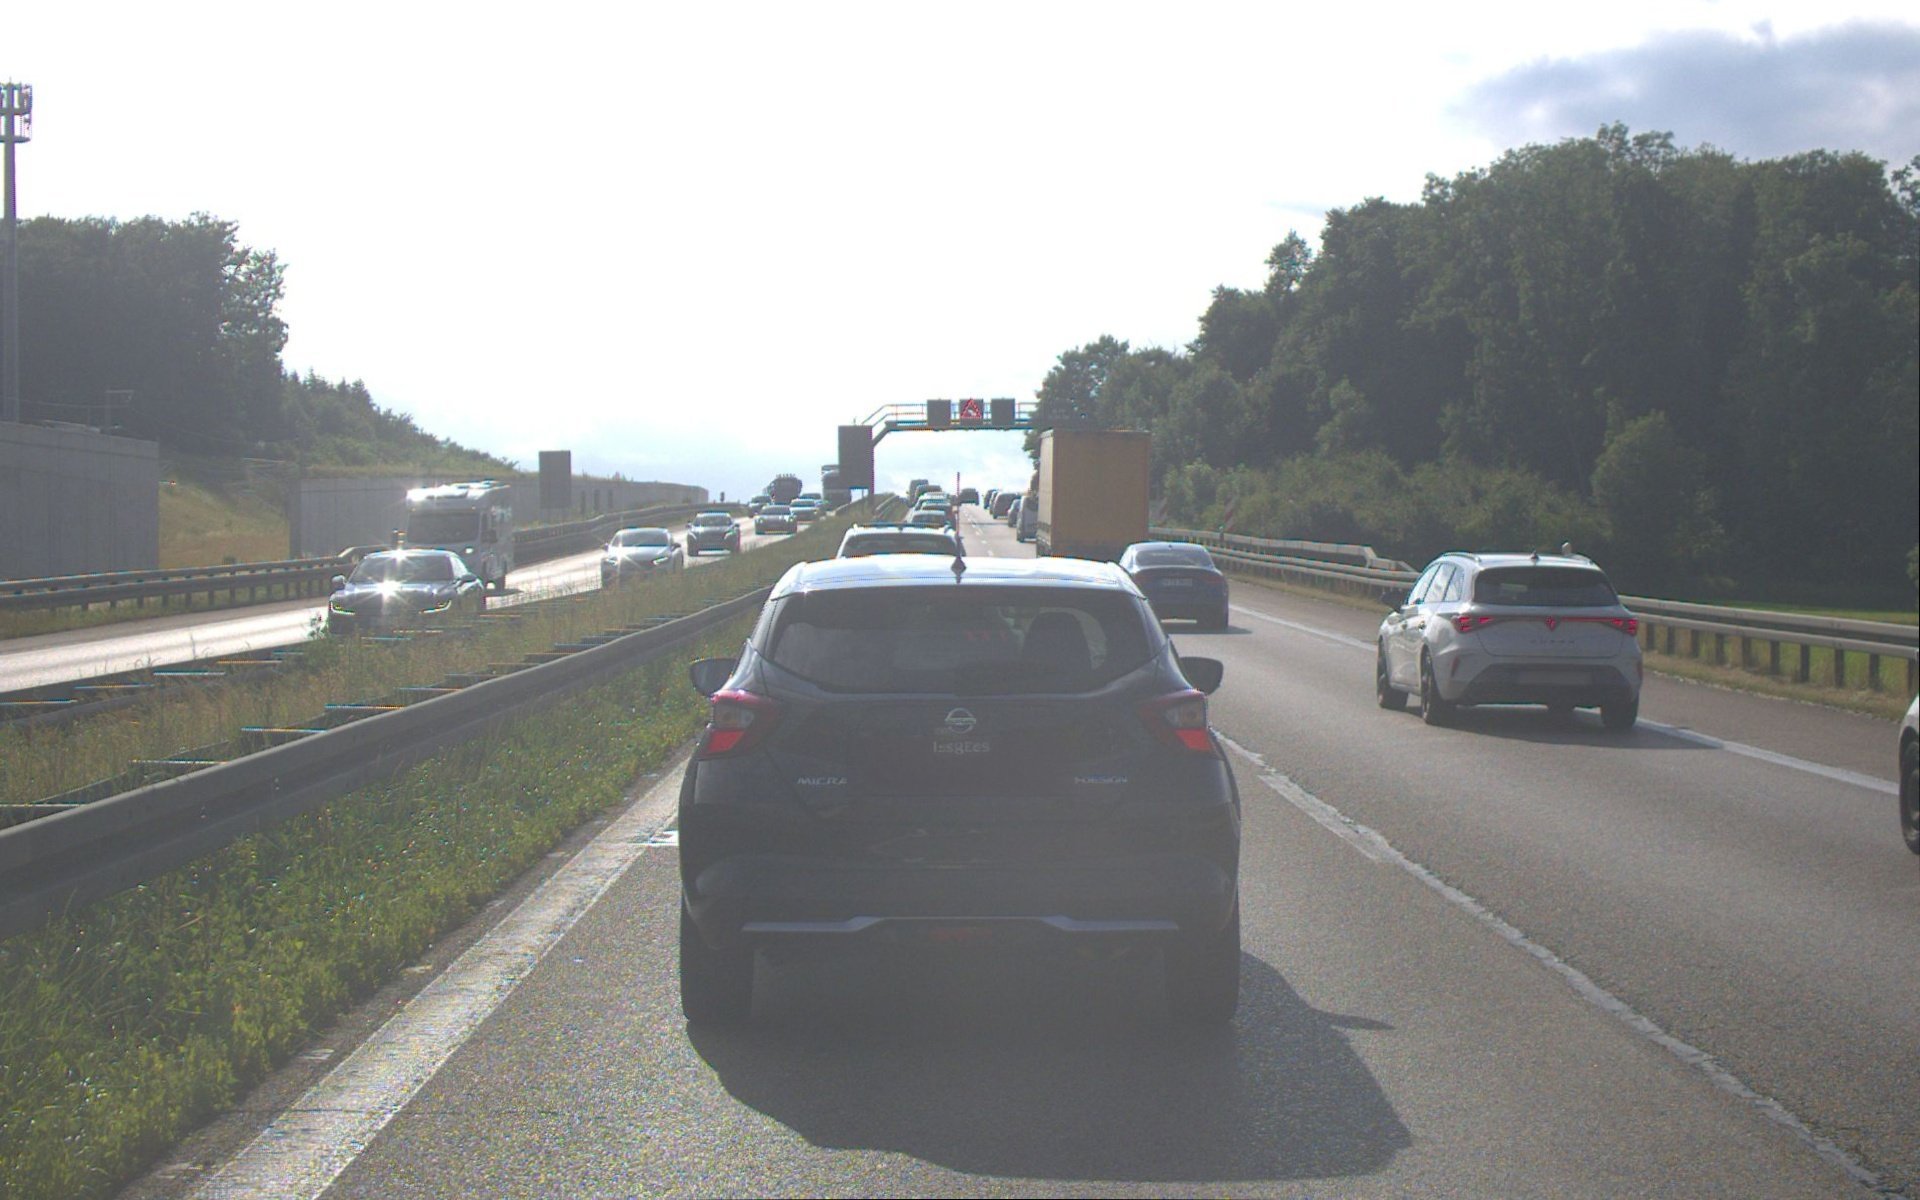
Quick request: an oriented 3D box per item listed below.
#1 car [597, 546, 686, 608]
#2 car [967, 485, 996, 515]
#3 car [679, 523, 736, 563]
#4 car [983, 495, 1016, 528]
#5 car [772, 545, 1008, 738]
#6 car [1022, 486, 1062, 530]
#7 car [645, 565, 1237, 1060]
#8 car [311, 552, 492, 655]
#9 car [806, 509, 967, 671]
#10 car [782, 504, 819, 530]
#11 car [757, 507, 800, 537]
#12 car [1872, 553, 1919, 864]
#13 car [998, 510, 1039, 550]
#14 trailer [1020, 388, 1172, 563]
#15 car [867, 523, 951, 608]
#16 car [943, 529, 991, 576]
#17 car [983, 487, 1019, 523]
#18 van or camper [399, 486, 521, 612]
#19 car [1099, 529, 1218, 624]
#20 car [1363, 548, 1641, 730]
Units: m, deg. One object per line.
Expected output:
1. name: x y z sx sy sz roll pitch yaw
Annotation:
1. car: -8.366 -0.605 90.555 1.993 1.587 4.449 1 0 -1
2. car: 1.556 -7.173 246.714 1.993 2.007 4.000 1 0 -1
3. car: -9.377 -2.104 128.011 1.853 1.428 4.449 1 0 -1
4. car: 2.515 -5.621 218.512 1.993 2.007 4.000 1 0 -1
5. car: -0.475 0.284 26.394 1.674 1.362 3.596 1 0 1
6. car: 3.462 -3.875 145.262 1.667 1.749 3.327 1 0 1
7. car: -0.018 0.606 11.695 1.710 1.421 3.378 1 0 1
8. car: -8.156 0.033 50.580 1.993 1.428 4.449 1 0 -1
9. car: -0.784 -0.115 38.722 1.674 1.720 3.596 1 0 1
10. car: -9.356 -4.878 201.668 1.993 1.428 4.449 1 0 -1
11. car: -9.102 -3.899 172.420 1.993 1.428 4.449 1 0 -1
12. car: 5.429 0.555 15.665 1.548 1.490 3.378 1 1 -2
13. car: 3.029 -3.651 178.786 1.993 2.007 4.000 1 0 -1
14. trailer: 3.637 -3.298 95.550 3.548 4.442 12.722 1 0 -1
15. car: -1.250 -0.836 84.044 1.993 2.007 4.000 1 0 -1
16. car: 0.292 -2.031 148.248 1.993 2.007 4.000 1 0 -1
17. car: 2.391 -5.547 200.950 1.993 2.007 4.000 1 0 -1
18. van or camper: -12.693 -1.273 87.653 2.225 3.068 6.513 1 0 -1
19. car: 3.208 -0.380 56.187 1.747 1.470 4.147 1 0 1
20. car: 4.581 0.297 29.592 1.620 1.441 4.147 1 0 -2
